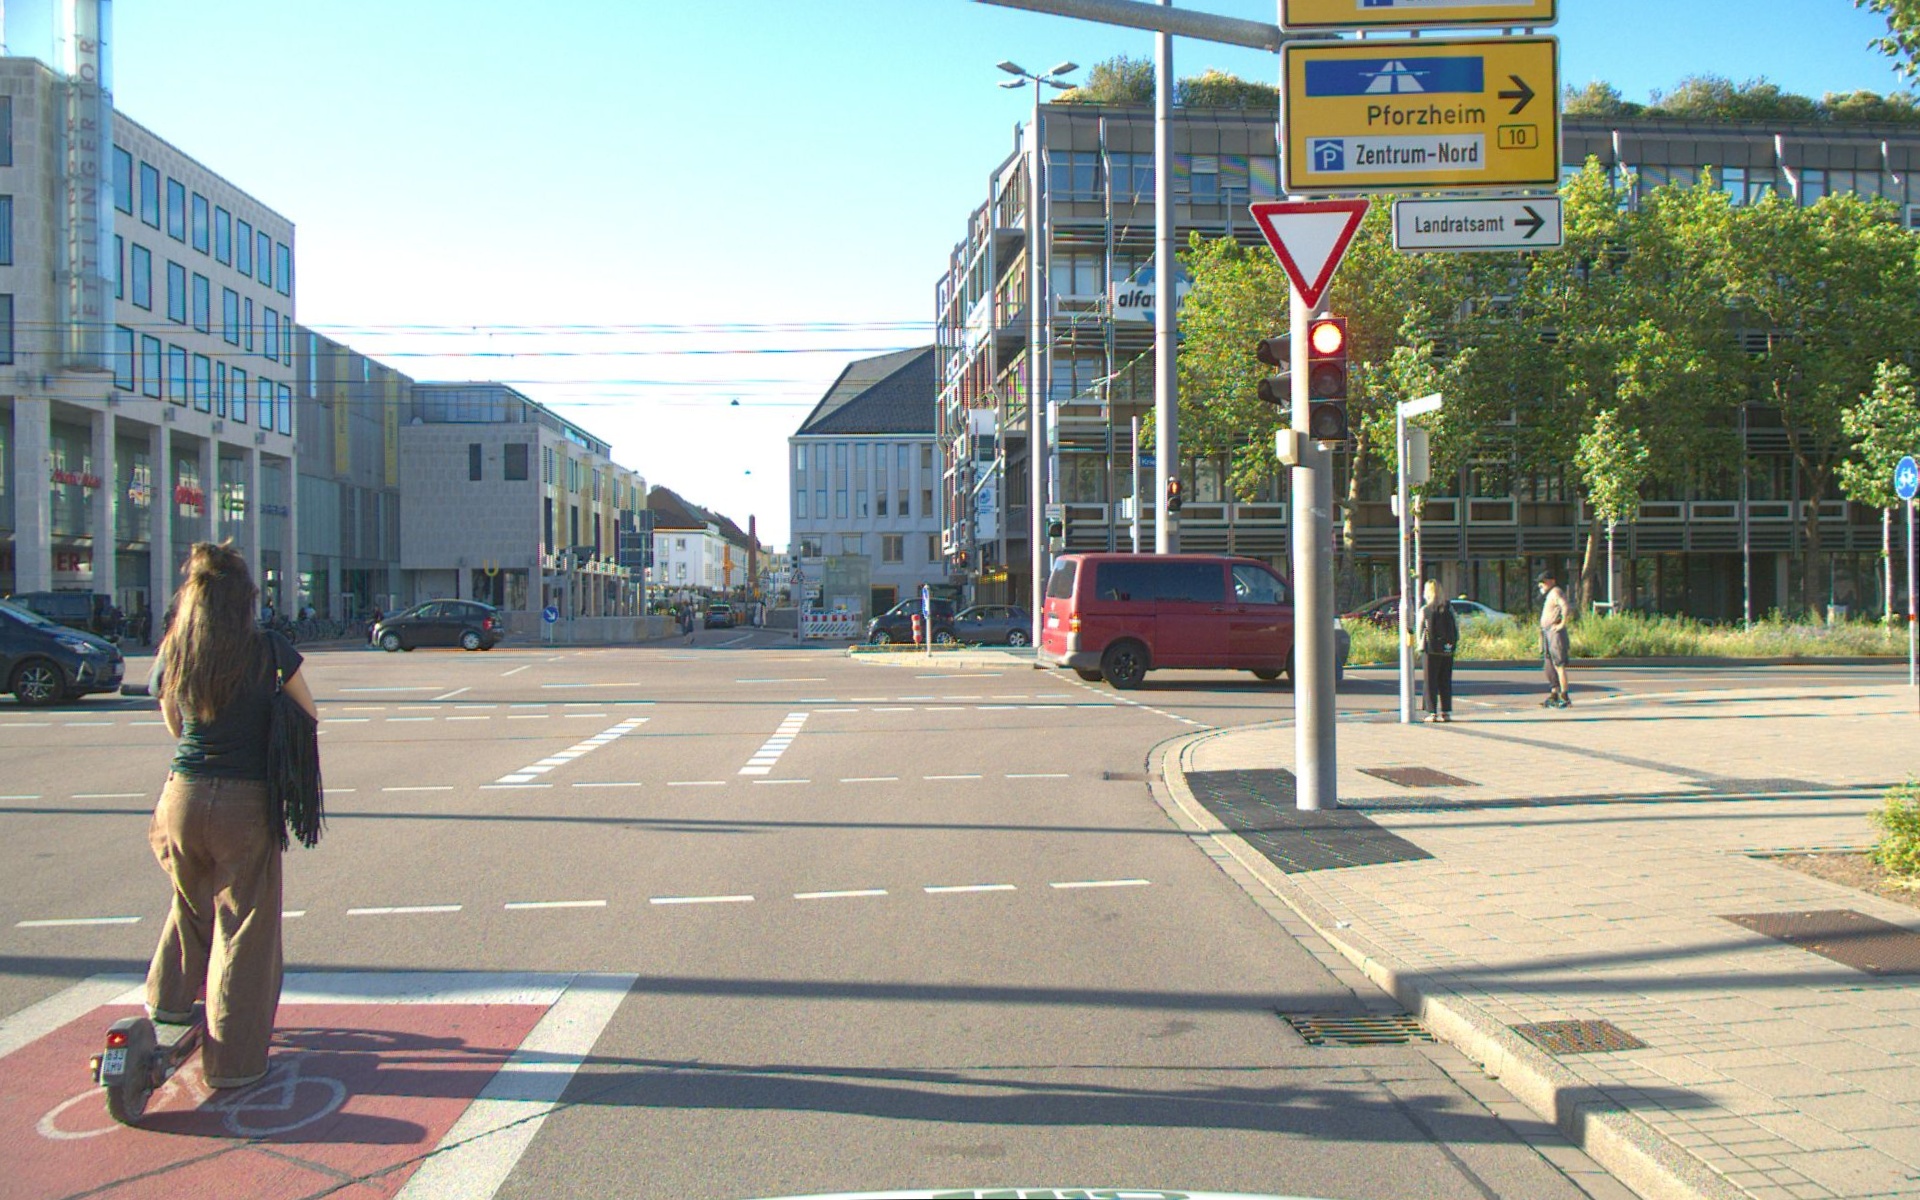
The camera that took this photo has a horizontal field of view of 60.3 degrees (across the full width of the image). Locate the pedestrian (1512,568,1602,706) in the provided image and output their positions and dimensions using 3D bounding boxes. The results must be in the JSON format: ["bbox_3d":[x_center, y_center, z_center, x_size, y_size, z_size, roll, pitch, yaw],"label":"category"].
[{"bbox_3d":[7.676,0.461,21.303,0.854,1.736,0.768,-1,0,-3],"label":"pedestrian"}]

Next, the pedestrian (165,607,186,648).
[{"bbox_3d":[-32.523,1.123,68.554,0.580,1.674,0.629,-1,0,-1],"label":"pedestrian"}]

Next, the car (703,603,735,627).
[{"bbox_3d":[-15.699,0.963,107.825,1.625,1.484,3.541,-1,0,-1],"label":"car"}]

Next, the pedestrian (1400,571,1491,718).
[{"bbox_3d":[5.567,0.494,19.009,0.750,1.642,0.874,-1,0,-2],"label":"pedestrian"}]

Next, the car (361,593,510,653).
[{"bbox_3d":[-15.661,0.677,49.509,3.907,1.713,1.761,-1,0,-2],"label":"car"}]

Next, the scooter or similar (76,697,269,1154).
[{"bbox_3d":[-2.225,0.869,4.727,0.301,1.127,0.836,-1,0,-12],"label":"scooter or similar"}]

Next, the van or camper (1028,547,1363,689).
[{"bbox_3d":[3.603,0.246,25.581,4.745,2.049,2.000,-1,0,-14],"label":"van or camper"}]

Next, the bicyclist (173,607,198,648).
[{"bbox_3d":[-28.540,1.015,60.953,0.613,1.473,0.589,-1,0,0],"label":"bicyclist"}]

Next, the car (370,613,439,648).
[{"bbox_3d":[-23.298,1.257,69.509,1.642,1.381,4.019,-1,0,-2],"label":"car"}]

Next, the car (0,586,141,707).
[{"bbox_3d":[-13.005,0.599,21.655,3.797,1.536,1.665,-1,0,-16],"label":"car"}]

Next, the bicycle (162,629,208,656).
[{"bbox_3d":[-28.497,1.561,60.866,0.622,0.919,2.218,-1,0,0],"label":"bicycle"}]

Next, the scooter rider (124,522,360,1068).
[{"bbox_3d":[-2.143,0.553,4.981,0.542,1.556,0.448,-1,0,-9],"label":"scooter rider"}]

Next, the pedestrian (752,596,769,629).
[{"bbox_3d":[-11.209,0.699,92.938,0.881,1.814,0.808,0,0,-1],"label":"pedestrian"}]

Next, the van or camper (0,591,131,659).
[{"bbox_3d":[-28.631,0.773,51.742,4.329,2.049,1.993,-1,0,-5],"label":"van or camper"}]

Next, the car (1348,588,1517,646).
[{"bbox_3d":[14.742,0.520,51.732,4.749,1.713,1.824,-1,0,-4],"label":"car"}]

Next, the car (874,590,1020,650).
[{"bbox_3d":[-0.436,0.593,49.969,4.317,1.713,1.824,-1,0,-4],"label":"car"}]

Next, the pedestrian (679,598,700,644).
[{"bbox_3d":[-10.378,0.800,63.525,0.685,1.718,0.619,-1,0,0],"label":"pedestrian"}]

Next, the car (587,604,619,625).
[{"bbox_3d":[-26.143,1.075,121.287,1.625,1.484,3.541,-1,0,-1],"label":"car"}]

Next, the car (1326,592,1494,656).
[{"bbox_3d":[12.671,0.646,46.664,4.212,1.713,1.820,-1,0,-11],"label":"car"}]

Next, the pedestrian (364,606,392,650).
[{"bbox_3d":[-22.107,1.052,62.811,0.760,1.667,0.626,-1,0,11],"label":"pedestrian"}]

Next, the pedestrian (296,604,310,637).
[{"bbox_3d":[-35.162,1.114,88.528,0.462,1.759,0.518,0,-1,38],"label":"pedestrian"}]

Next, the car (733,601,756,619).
[{"bbox_3d":[-18.972,0.867,145.493,1.625,1.484,3.541,-1,0,-1],"label":"car"}]

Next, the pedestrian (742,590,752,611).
[{"bbox_3d":[-21.152,0.051,164.363,0.892,1.999,0.822,1,-1,-1],"label":"pedestrian"}]

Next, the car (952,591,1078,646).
[{"bbox_3d":[1.754,0.589,53.507,3.908,1.713,1.824,-1,0,-4],"label":"car"}]

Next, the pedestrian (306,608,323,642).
[{"bbox_3d":[-33.499,1.288,85.820,0.462,1.759,0.692,0,-1,37],"label":"pedestrian"}]
